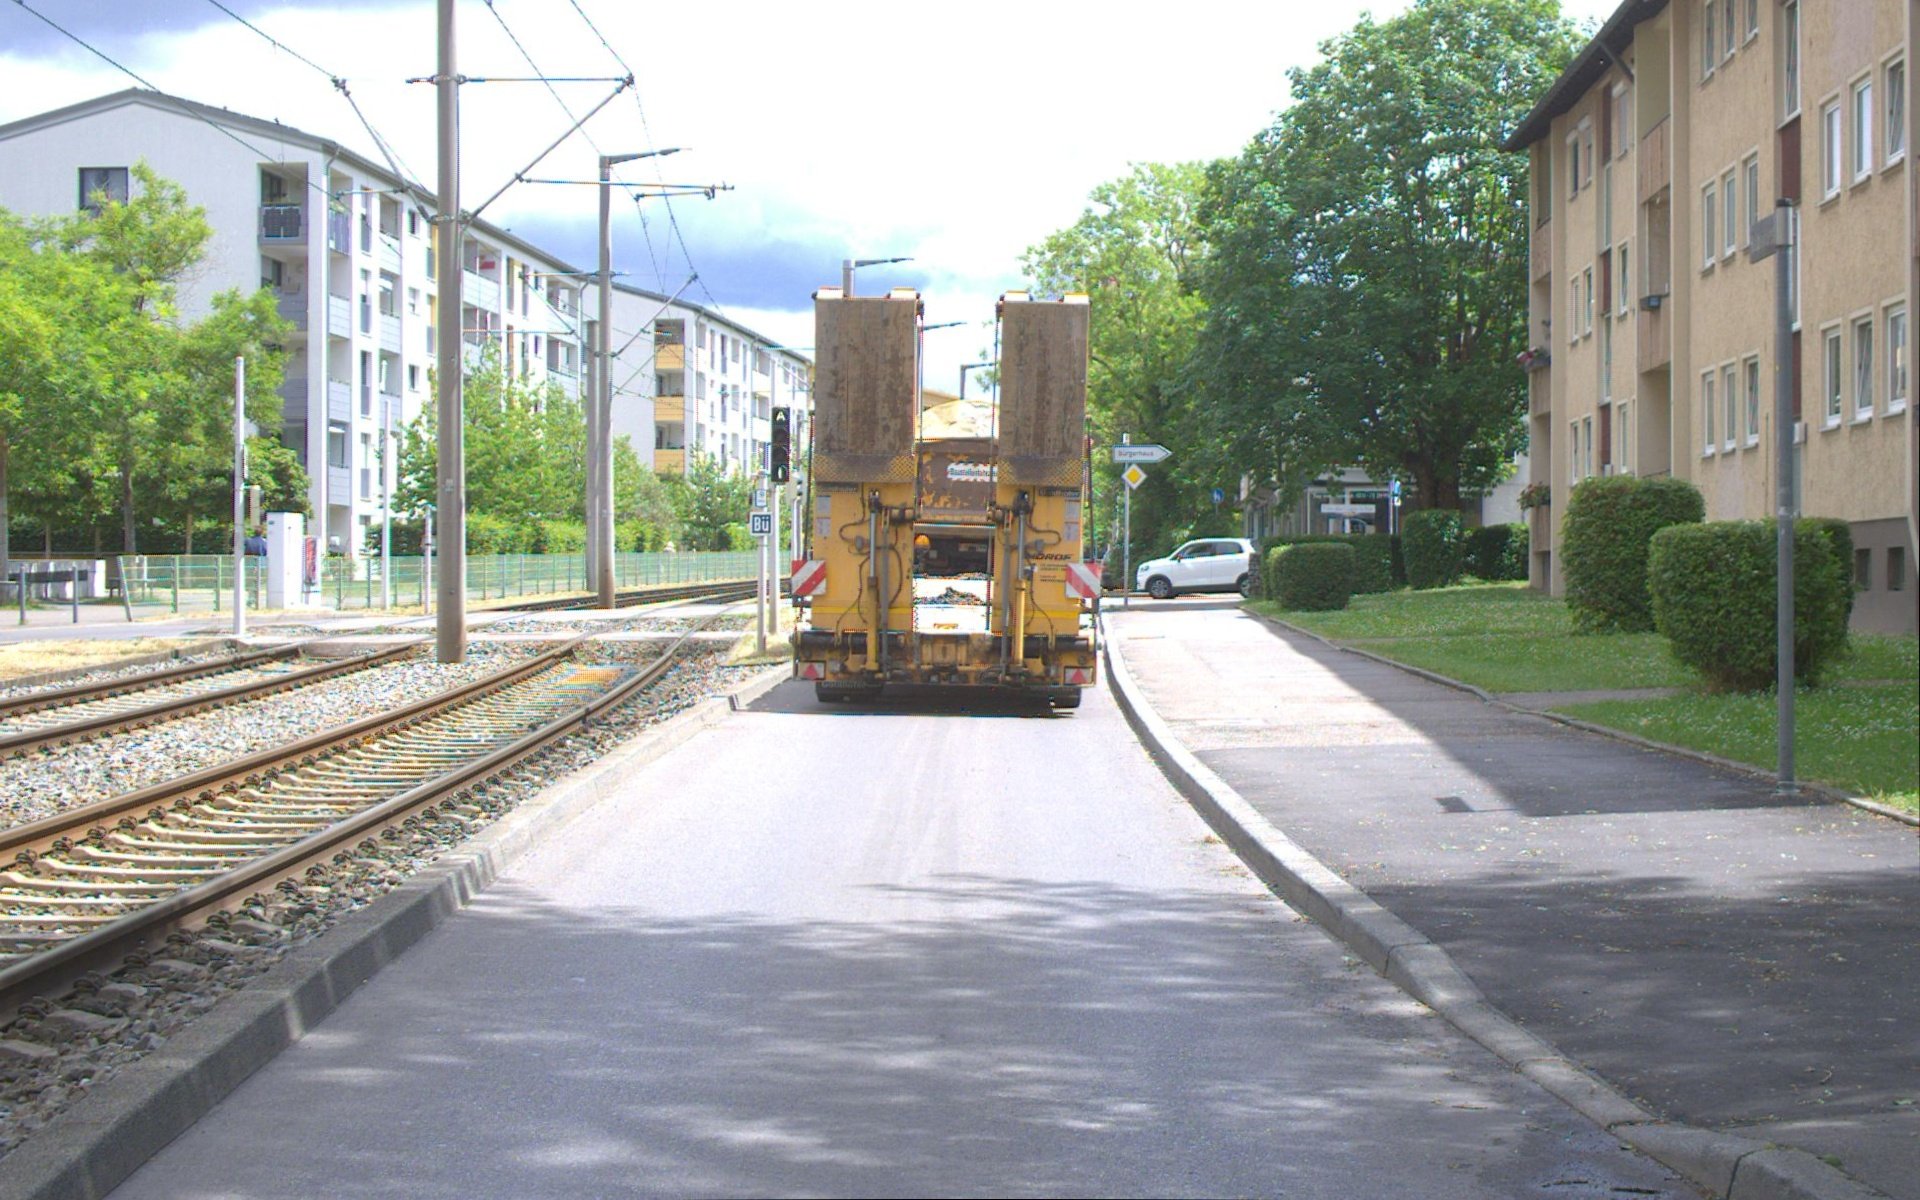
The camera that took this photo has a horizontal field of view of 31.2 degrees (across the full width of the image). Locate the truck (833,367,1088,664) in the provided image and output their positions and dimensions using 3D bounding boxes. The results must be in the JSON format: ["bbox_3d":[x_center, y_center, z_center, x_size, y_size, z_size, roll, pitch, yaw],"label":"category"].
[{"bbox_3d":[-0.027,-1.074,42.926,2.833,3.319,7.985,-1,2,0],"label":"truck"}]

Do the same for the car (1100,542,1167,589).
[{"bbox_3d":[5.491,-1.107,109.281,1.993,1.382,4.000,-1,2,2],"label":"car"}]

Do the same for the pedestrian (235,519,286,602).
[{"bbox_3d":[-14.171,-0.804,69.693,0.749,1.656,0.869,-1,2,6],"label":"pedestrian"}]

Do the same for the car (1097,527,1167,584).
[{"bbox_3d":[5.193,-1.372,104.439,1.993,1.612,4.000,-1,2,2],"label":"car"}]

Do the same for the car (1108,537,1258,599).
[{"bbox_3d":[5.873,-0.833,90.326,3.600,1.579,1.999,-1,0,14],"label":"car"}]

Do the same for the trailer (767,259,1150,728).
[{"bbox_3d":[-0.058,-1.035,33.763,3.050,3.759,11.613,-1,2,0],"label":"trailer"}]
